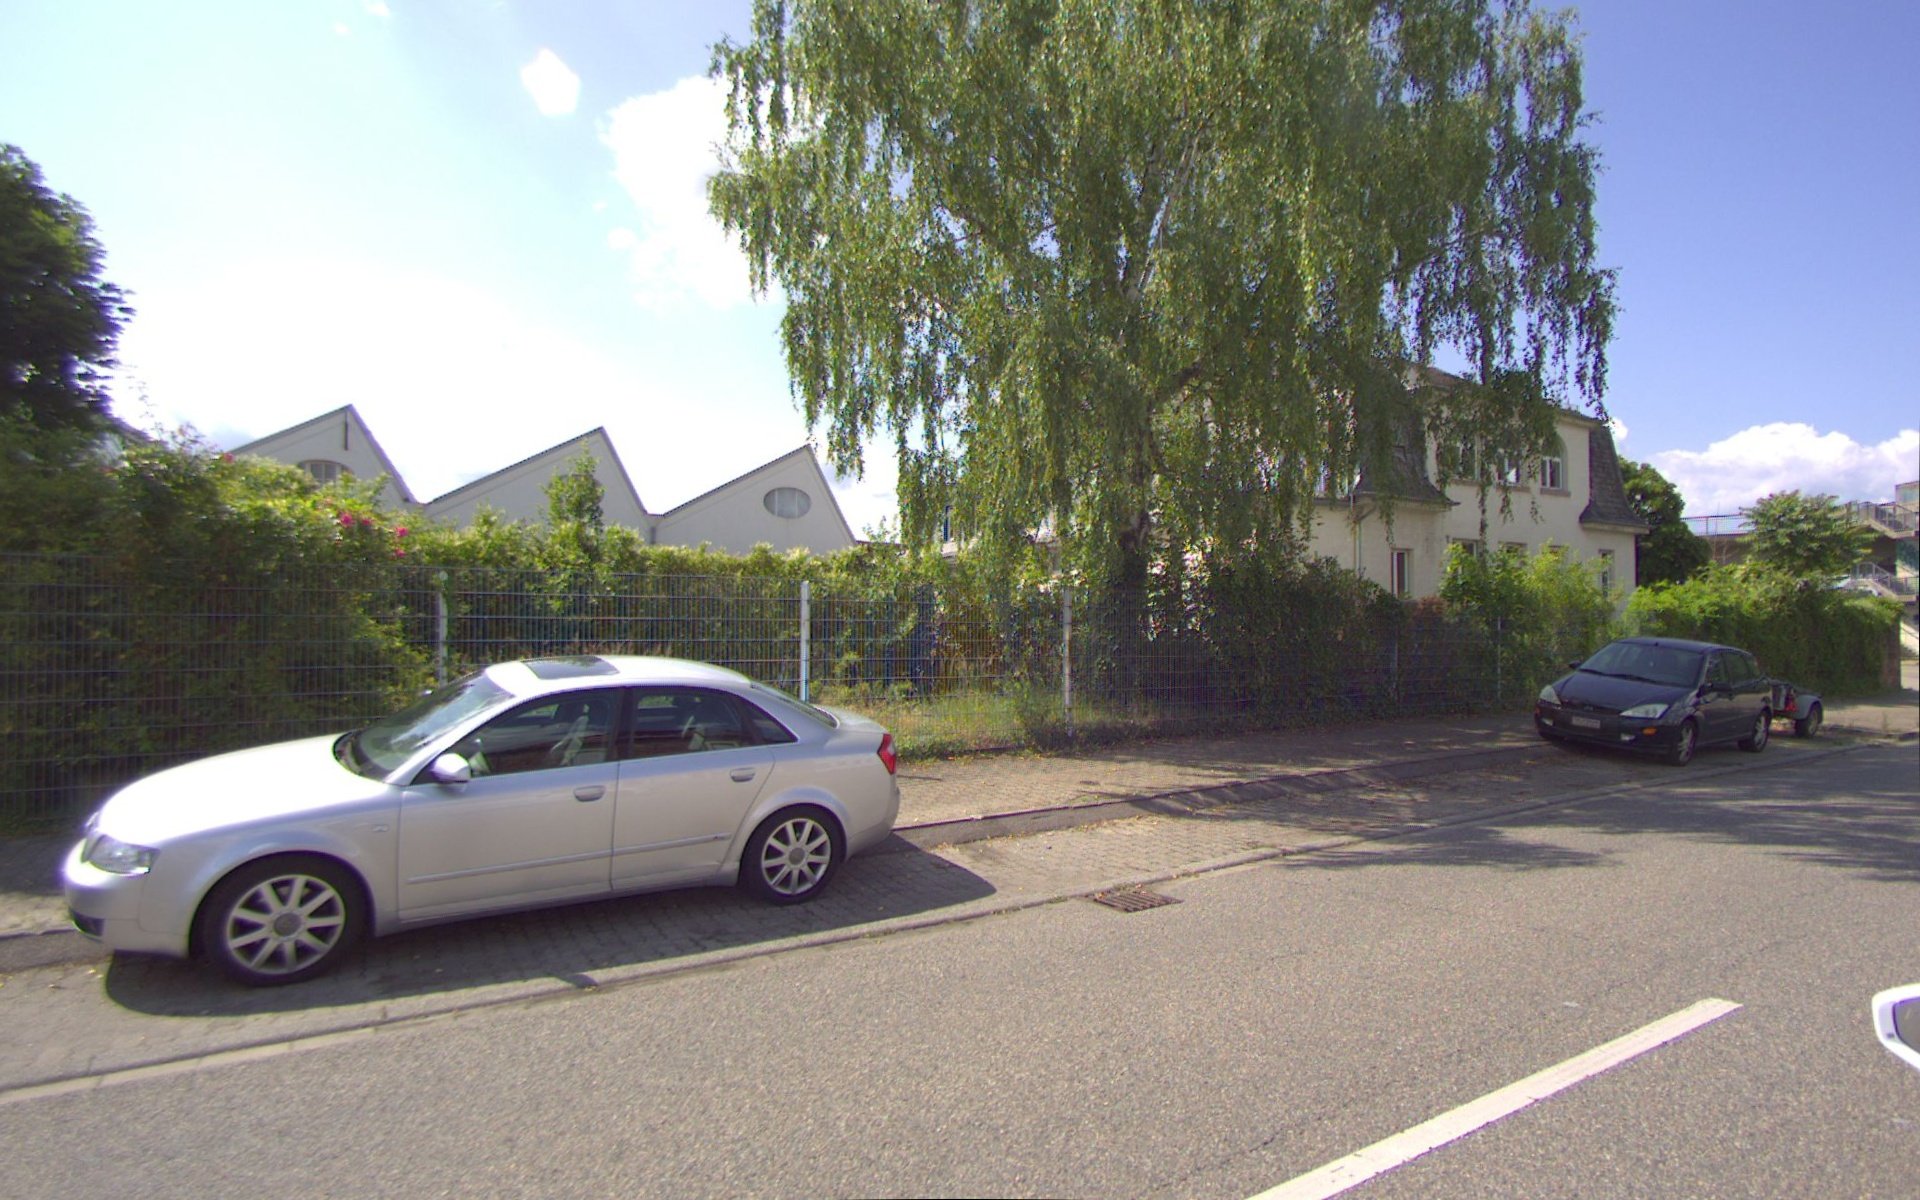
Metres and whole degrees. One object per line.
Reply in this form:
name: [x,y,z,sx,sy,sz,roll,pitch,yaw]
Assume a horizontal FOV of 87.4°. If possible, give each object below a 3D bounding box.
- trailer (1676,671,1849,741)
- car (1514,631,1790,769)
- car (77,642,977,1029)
trailer: [13.119,1.688,16.414,2.440,0.862,1.456,2,2,-32]
car: [9.547,1.270,13.768,4.115,1.532,1.672,2,1,-34]
car: [-2.279,1.079,6.234,4.583,1.497,1.713,1,2,-34]
